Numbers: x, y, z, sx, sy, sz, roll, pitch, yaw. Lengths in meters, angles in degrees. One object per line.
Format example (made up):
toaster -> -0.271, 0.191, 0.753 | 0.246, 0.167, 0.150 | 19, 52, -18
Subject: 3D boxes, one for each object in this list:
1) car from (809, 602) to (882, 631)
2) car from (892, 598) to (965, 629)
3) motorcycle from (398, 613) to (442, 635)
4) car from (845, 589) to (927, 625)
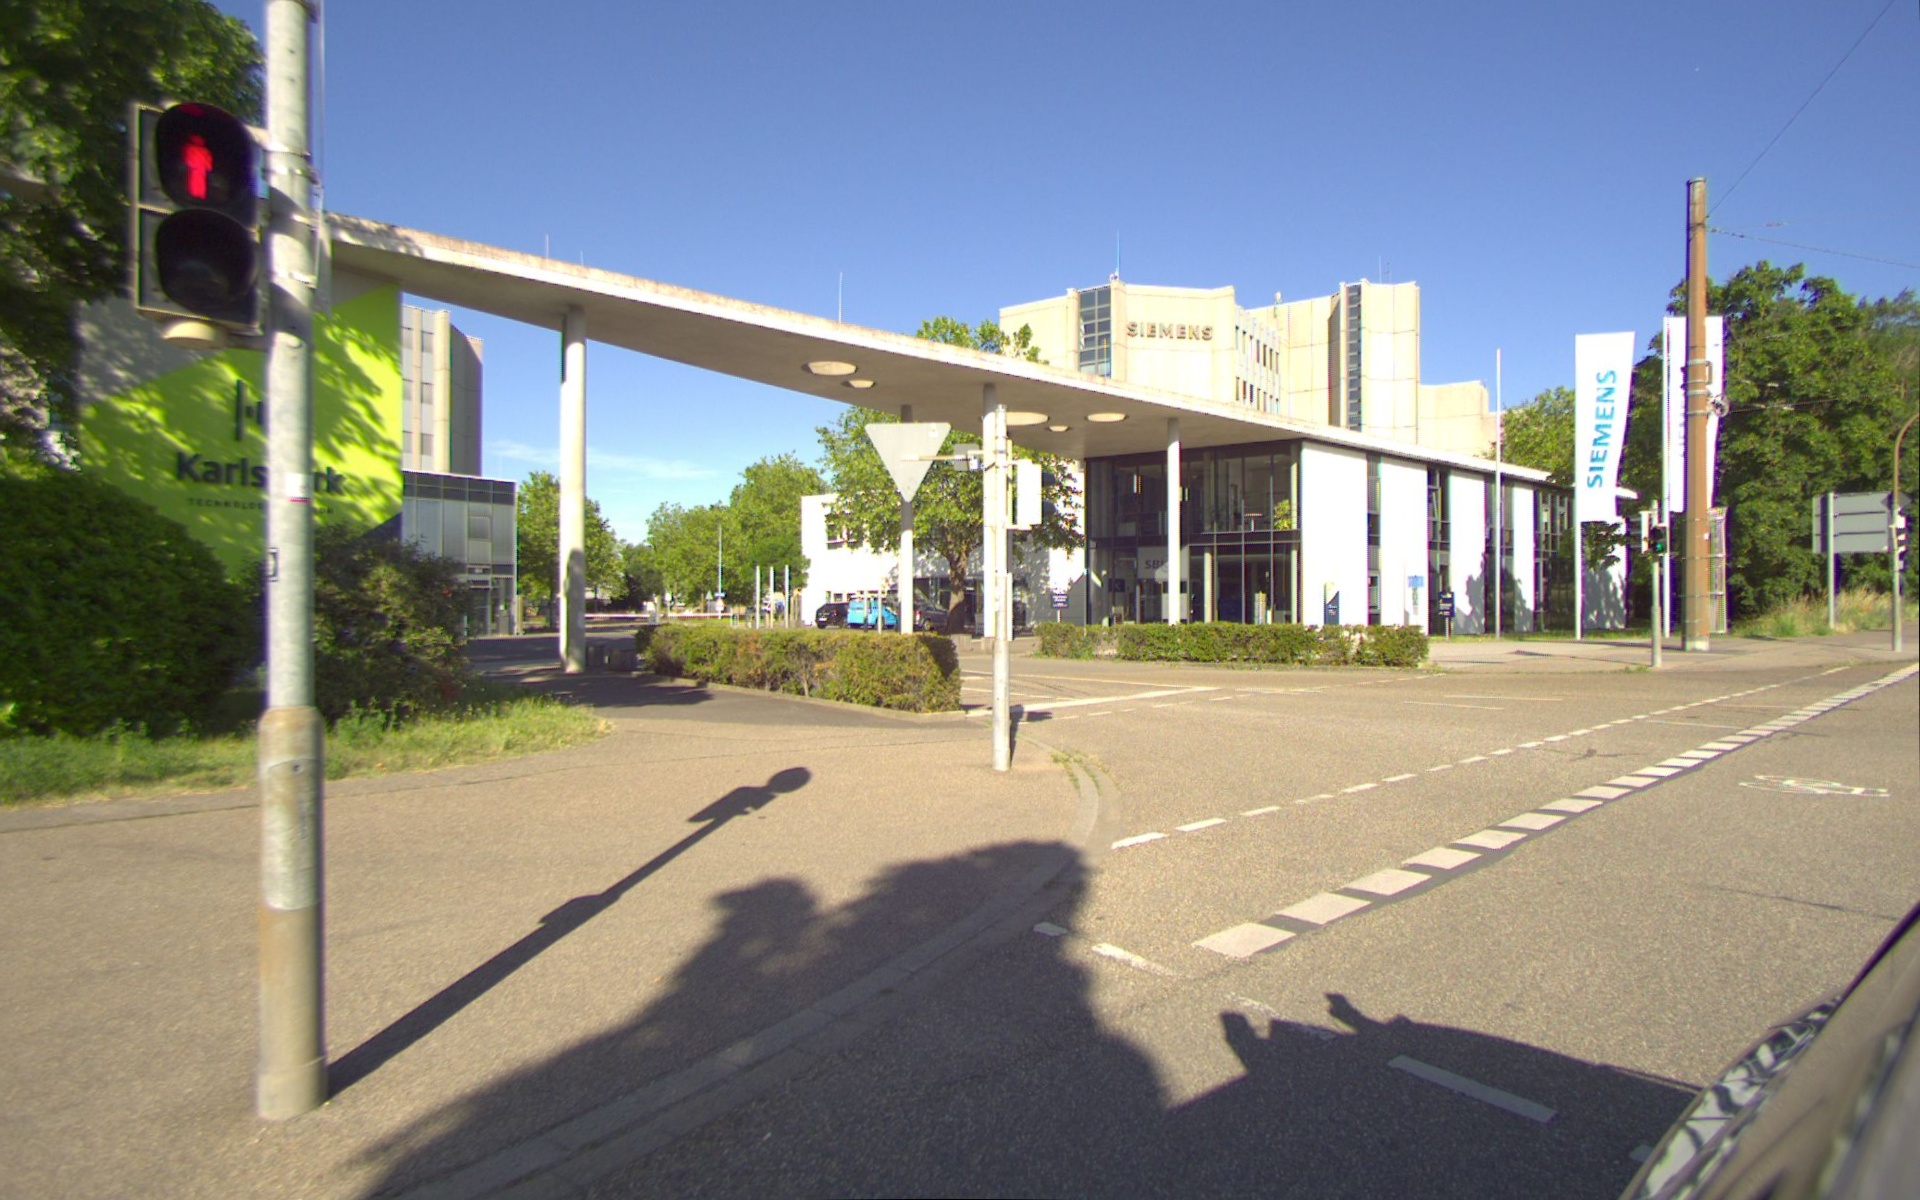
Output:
car -> -6.129, 0.840, 54.608 | 1.767, 1.462, 3.951 | 0, 0, 34
car -> -1.556, 0.666, 51.590 | 1.767, 1.462, 3.951 | 0, 0, 34
motorcycle -> -25.603, 1.129, 47.994 | 0.649, 0.959, 1.712 | -1, 0, 36
car -> -3.829, 0.339, 53.023 | 1.767, 1.819, 4.666 | 0, 0, 34
